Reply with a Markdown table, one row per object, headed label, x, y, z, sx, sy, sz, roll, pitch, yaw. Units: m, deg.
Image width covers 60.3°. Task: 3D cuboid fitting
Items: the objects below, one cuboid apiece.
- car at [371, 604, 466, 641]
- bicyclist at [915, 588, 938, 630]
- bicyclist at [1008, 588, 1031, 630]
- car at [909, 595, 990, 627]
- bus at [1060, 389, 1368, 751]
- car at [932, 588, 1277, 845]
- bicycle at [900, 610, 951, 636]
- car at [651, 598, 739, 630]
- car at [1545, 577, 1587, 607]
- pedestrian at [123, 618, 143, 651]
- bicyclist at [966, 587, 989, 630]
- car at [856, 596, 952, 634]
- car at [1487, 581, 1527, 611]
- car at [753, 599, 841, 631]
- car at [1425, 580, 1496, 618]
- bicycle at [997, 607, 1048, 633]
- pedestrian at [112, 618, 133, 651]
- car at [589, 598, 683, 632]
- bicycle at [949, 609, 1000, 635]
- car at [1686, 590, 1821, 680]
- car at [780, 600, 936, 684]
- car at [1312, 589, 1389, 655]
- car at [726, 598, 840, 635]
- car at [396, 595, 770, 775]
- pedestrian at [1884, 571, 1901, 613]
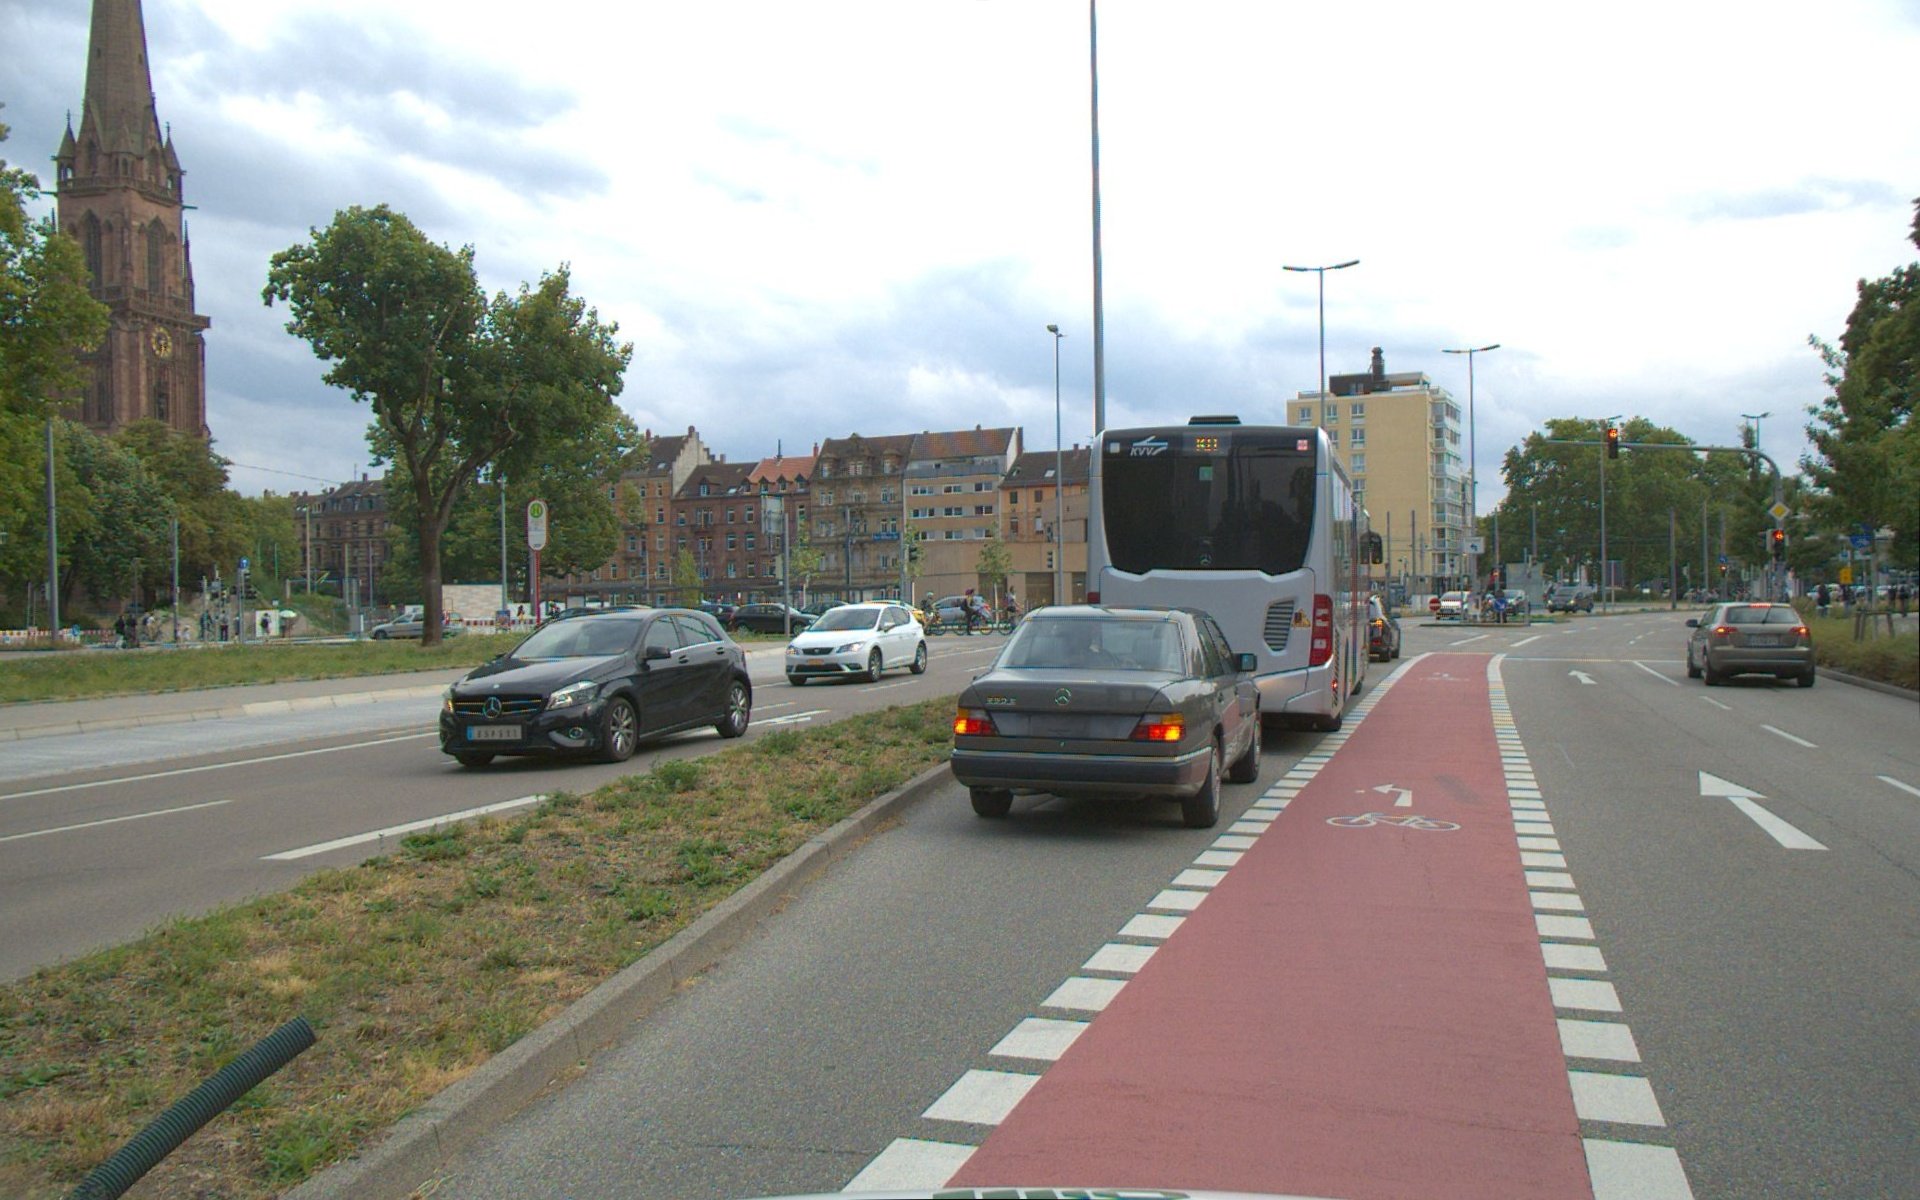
| label | x | y | z | sx | sy | sz | roll | pitch | yaw |
| --- | --- | --- | --- | --- | --- | --- | --- | --- | --- |
| car | -26.370 | 1.072 | 80.552 | 4.065 | 1.678 | 1.648 | -1 | 0 | 11 |
| bicyclist | -1.354 | 0.364 | 67.069 | 0.769 | 1.672 | 0.573 | -1 | 0 | 12 |
| bicyclist | 2.359 | 0.354 | 65.392 | 0.769 | 1.672 | 0.614 | -1 | 0 | 15 |
| car | -0.478 | 0.490 | 74.142 | 3.597 | 1.419 | 1.584 | 0 | 0 | -1 |
| bus | 3.420 | -0.312 | 20.085 | 2.771 | 3.449 | 8.189 | -1 | 0 | 15 |
| car | 1.241 | 0.695 | 12.111 | 1.724 | 1.515 | 4.174 | -1 | 0 | 16 |
| bicycle | -1.400 | 0.929 | 67.058 | 1.922 | 0.999 | 0.631 | -1 | 0 | 12 |
| car | -12.212 | 0.648 | 76.198 | 3.683 | 1.419 | 1.586 | 0 | 0 | 12 |
| car | 43.504 | -0.570 | 118.660 | 1.958 | 2.049 | 3.989 | -1 | 0 | 33 |
| pedestrian | -40.096 | 1.674 | 80.192 | 0.549 | 1.588 | 0.726 | -1 | 0 | 11 |
| bicyclist | 0.706 | 0.346 | 66.168 | 0.770 | 1.672 | 0.573 | -1 | 0 | 16 |
| car | -2.367 | 0.637 | 69.878 | 3.774 | 1.544 | 1.662 | 0 | 0 | 12 |
| car | 35.671 | -0.286 | 107.769 | 1.772 | 1.883 | 3.994 | -1 | 0 | 29 |
| car | -7.423 | 0.667 | 75.283 | 3.683 | 1.419 | 1.586 | 0 | 0 | 12 |
| car | 29.969 | -0.075 | 98.949 | 2.538 | 2.146 | 5.585 | -1 | 0 | 33 |
| bicycle | 2.467 | 0.796 | 65.358 | 1.922 | 0.999 | 0.631 | -1 | 0 | 14 |
| pedestrian | -40.920 | 1.669 | 80.827 | 0.549 | 1.588 | 0.726 | -1 | 0 | 11 |
| car | -14.127 | 0.659 | 72.177 | 3.683 | 1.419 | 1.586 | 0 | 0 | 12 |
| bicycle | 0.575 | 0.894 | 66.201 | 1.922 | 0.999 | 0.631 | -1 | 0 | 16 |
| car | 14.199 | 0.586 | 29.766 | 1.688 | 1.483 | 3.738 | -1 | 0 | 18 |
| car | -1.921 | 0.777 | 32.544 | 1.661 | 1.468 | 4.178 | -2 | 0 | 17 |
| car | 9.041 | 0.470 | 38.183 | 1.620 | 1.421 | 3.863 | -1 | 0 | 14 |
| car | -7.552 | 0.687 | 70.660 | 4.569 | 1.501 | 1.662 | 1 | 0 | 12 |
| car | -3.651 | 0.769 | 16.919 | 1.717 | 1.515 | 4.380 | -3 | 0 | 17 |
| pedestrian | 46.145 | -0.405 | 81.835 | 0.601 | 2.049 | 0.598 | -1 | 0 | 16 |
